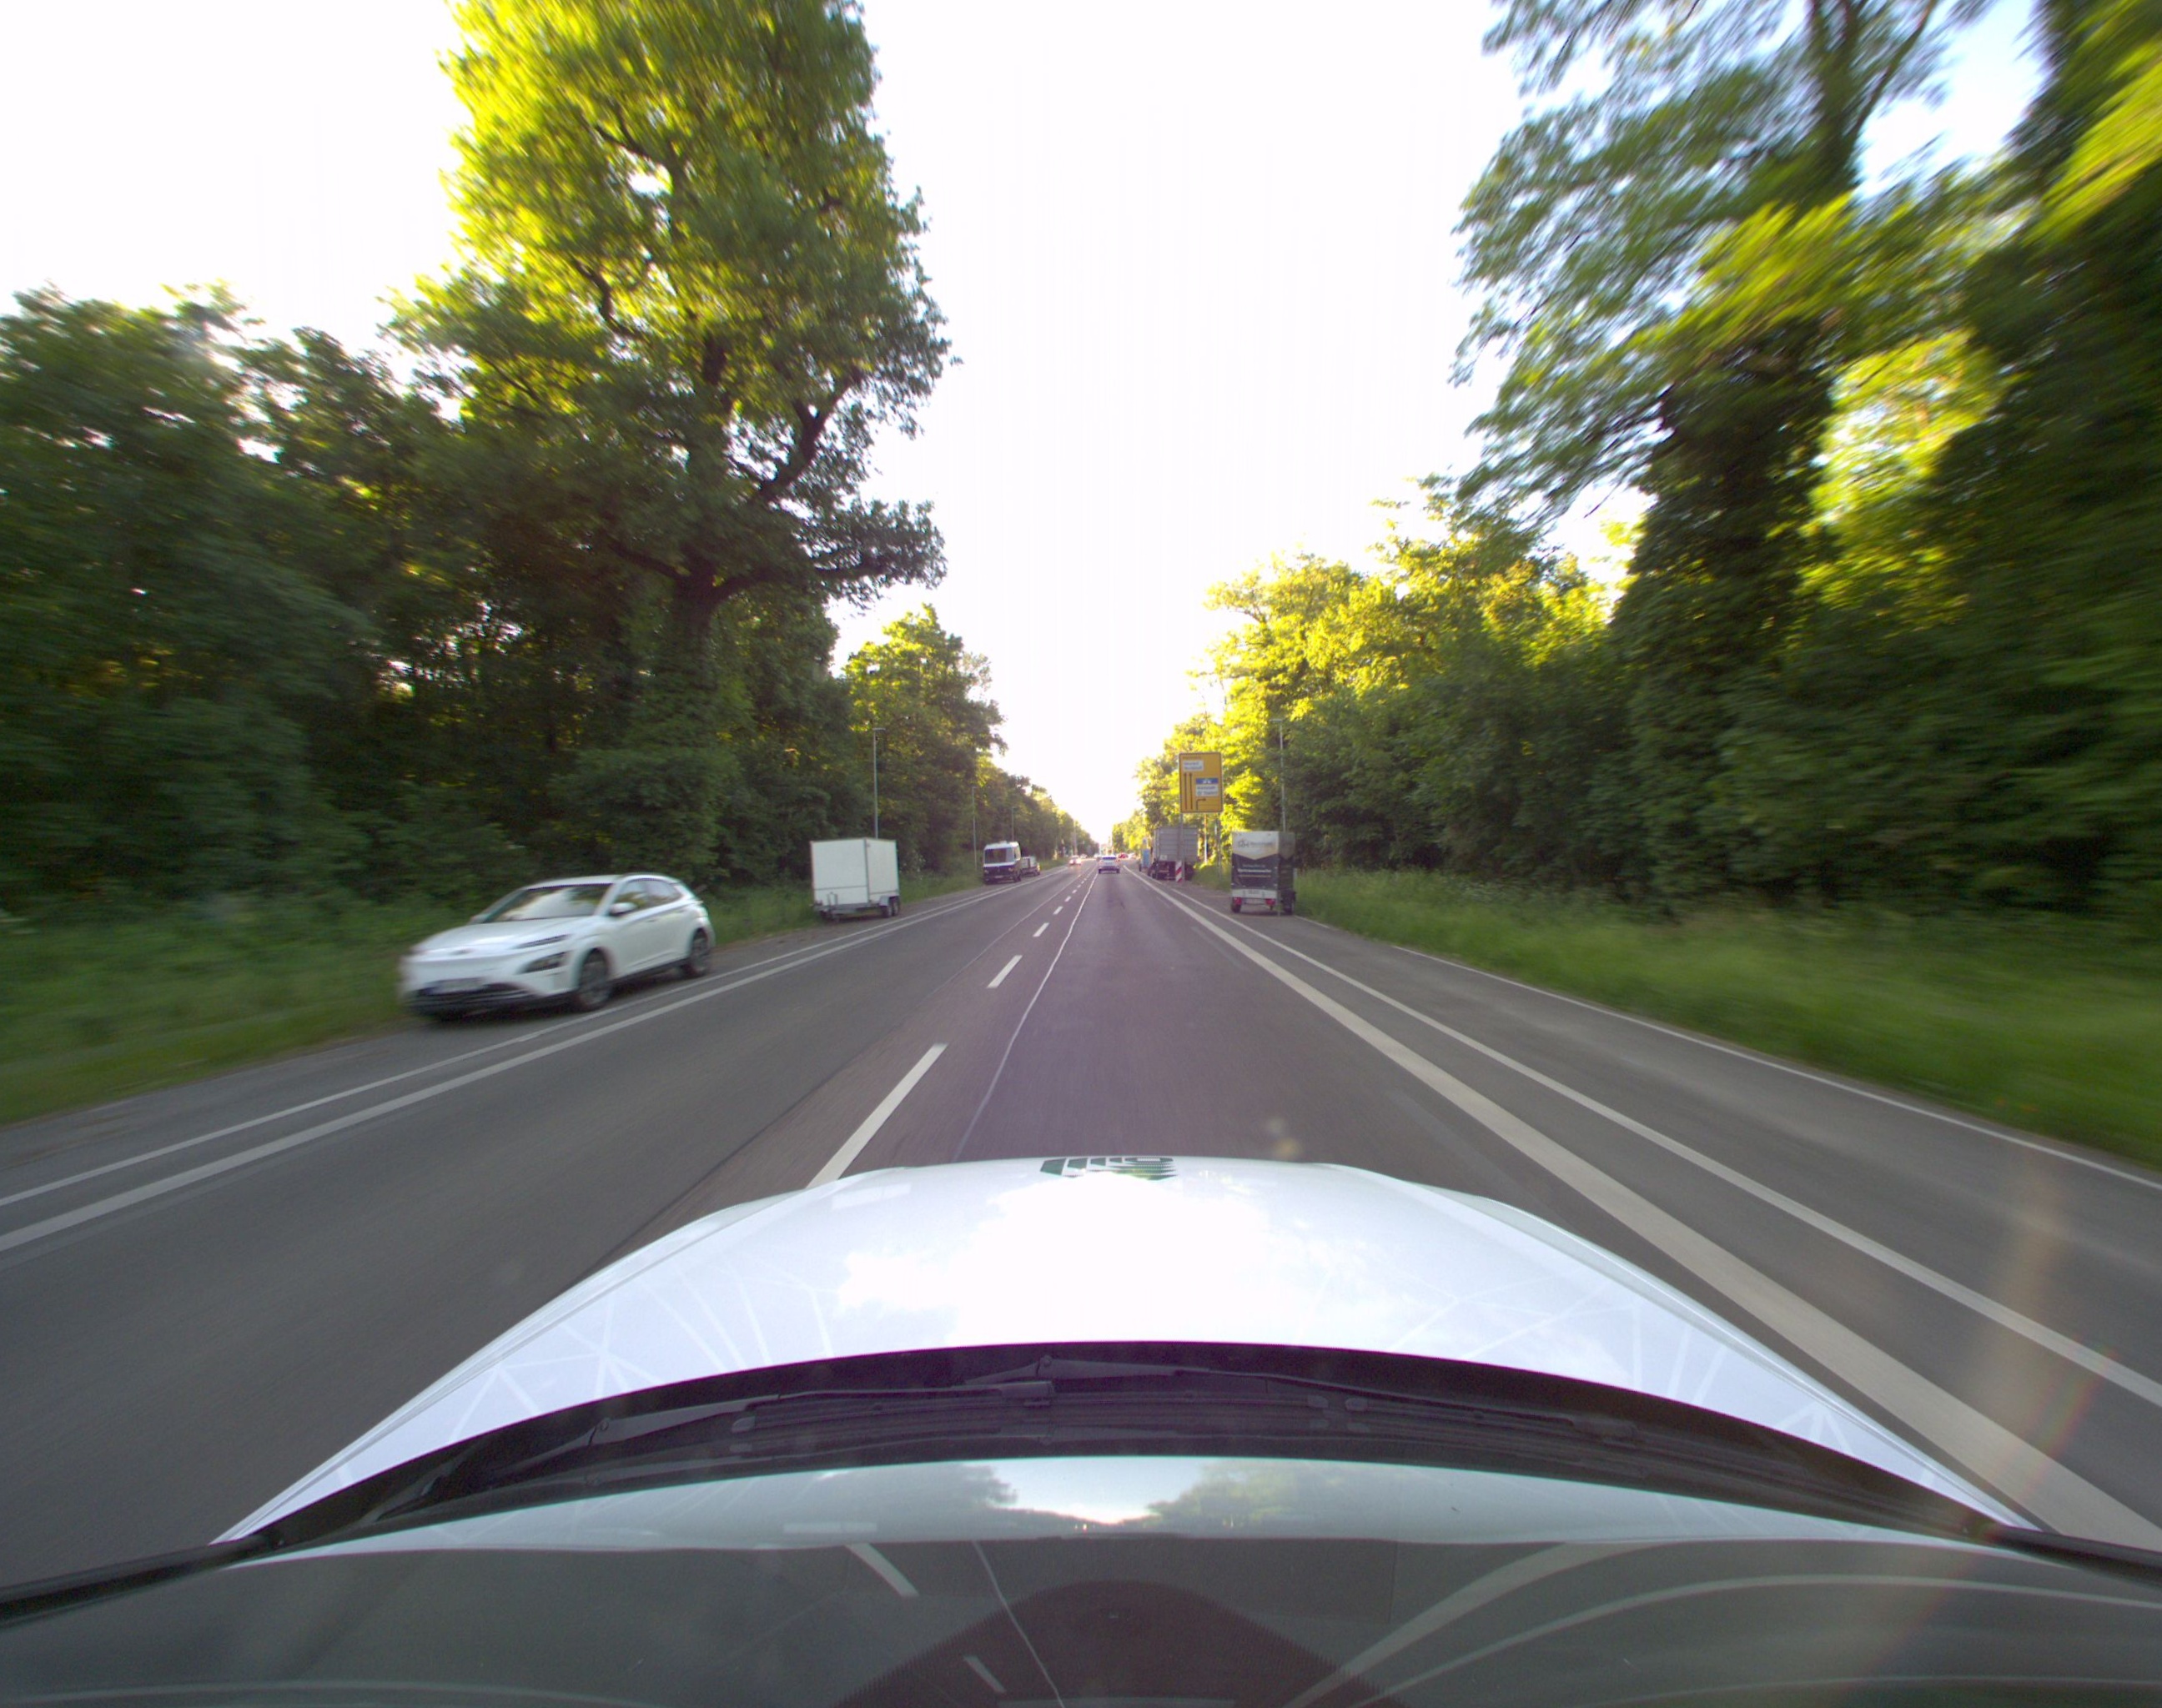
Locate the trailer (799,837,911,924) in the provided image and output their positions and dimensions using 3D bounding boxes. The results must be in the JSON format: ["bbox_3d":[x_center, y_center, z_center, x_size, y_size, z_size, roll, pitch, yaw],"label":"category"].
[{"bbox_3d":[-6.539,0.718,23.980,2.066,2.293,3.490,-3,0,3],"label":"trailer"}]

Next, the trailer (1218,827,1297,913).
[{"bbox_3d":[4.683,0.394,21.478,1.600,2.112,2.409,-1,0,22],"label":"trailer"}]

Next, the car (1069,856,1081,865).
[{"bbox_3d":[-0.910,1.021,128.547,1.672,1.415,4.002,-2,0,2],"label":"car"}]

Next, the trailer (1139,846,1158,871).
[{"bbox_3d":[6.159,0.372,74.624,1.494,2.235,4.552,0,0,2],"label":"trailer"}]

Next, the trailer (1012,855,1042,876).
[{"bbox_3d":[-4.486,0.924,68.083,1.459,1.659,3.379,-4,-1,14],"label":"trailer"}]

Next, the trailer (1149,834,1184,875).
[{"bbox_3d":[6.176,0.018,59.544,2.263,2.844,5.210,0,0,3],"label":"trailer"}]

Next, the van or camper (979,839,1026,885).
[{"bbox_3d":[-5.183,0.498,54.697,2.293,2.768,5.559,-4,0,2],"label":"van or camper"}]

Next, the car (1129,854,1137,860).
[{"bbox_3d":[14.469,0.866,227.060,1.985,1.618,4.003,0,0,3],"label":"car"}]

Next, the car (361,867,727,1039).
[{"bbox_3d":[-6.399,1.044,10.428,1.808,1.571,4.206,-4,0,0],"label":"car"}]

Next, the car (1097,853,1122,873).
[{"bbox_3d":[2.420,0.752,69.141,1.986,1.640,4.002,-2,0,2],"label":"car"}]

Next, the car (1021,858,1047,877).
[{"bbox_3d":[-4.131,1.159,72.183,1.860,1.463,4.135,-5,0,2],"label":"car"}]

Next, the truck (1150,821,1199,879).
[{"bbox_3d":[5.792,-0.202,51.259,2.495,3.366,7.111,-1,0,2],"label":"truck"}]
